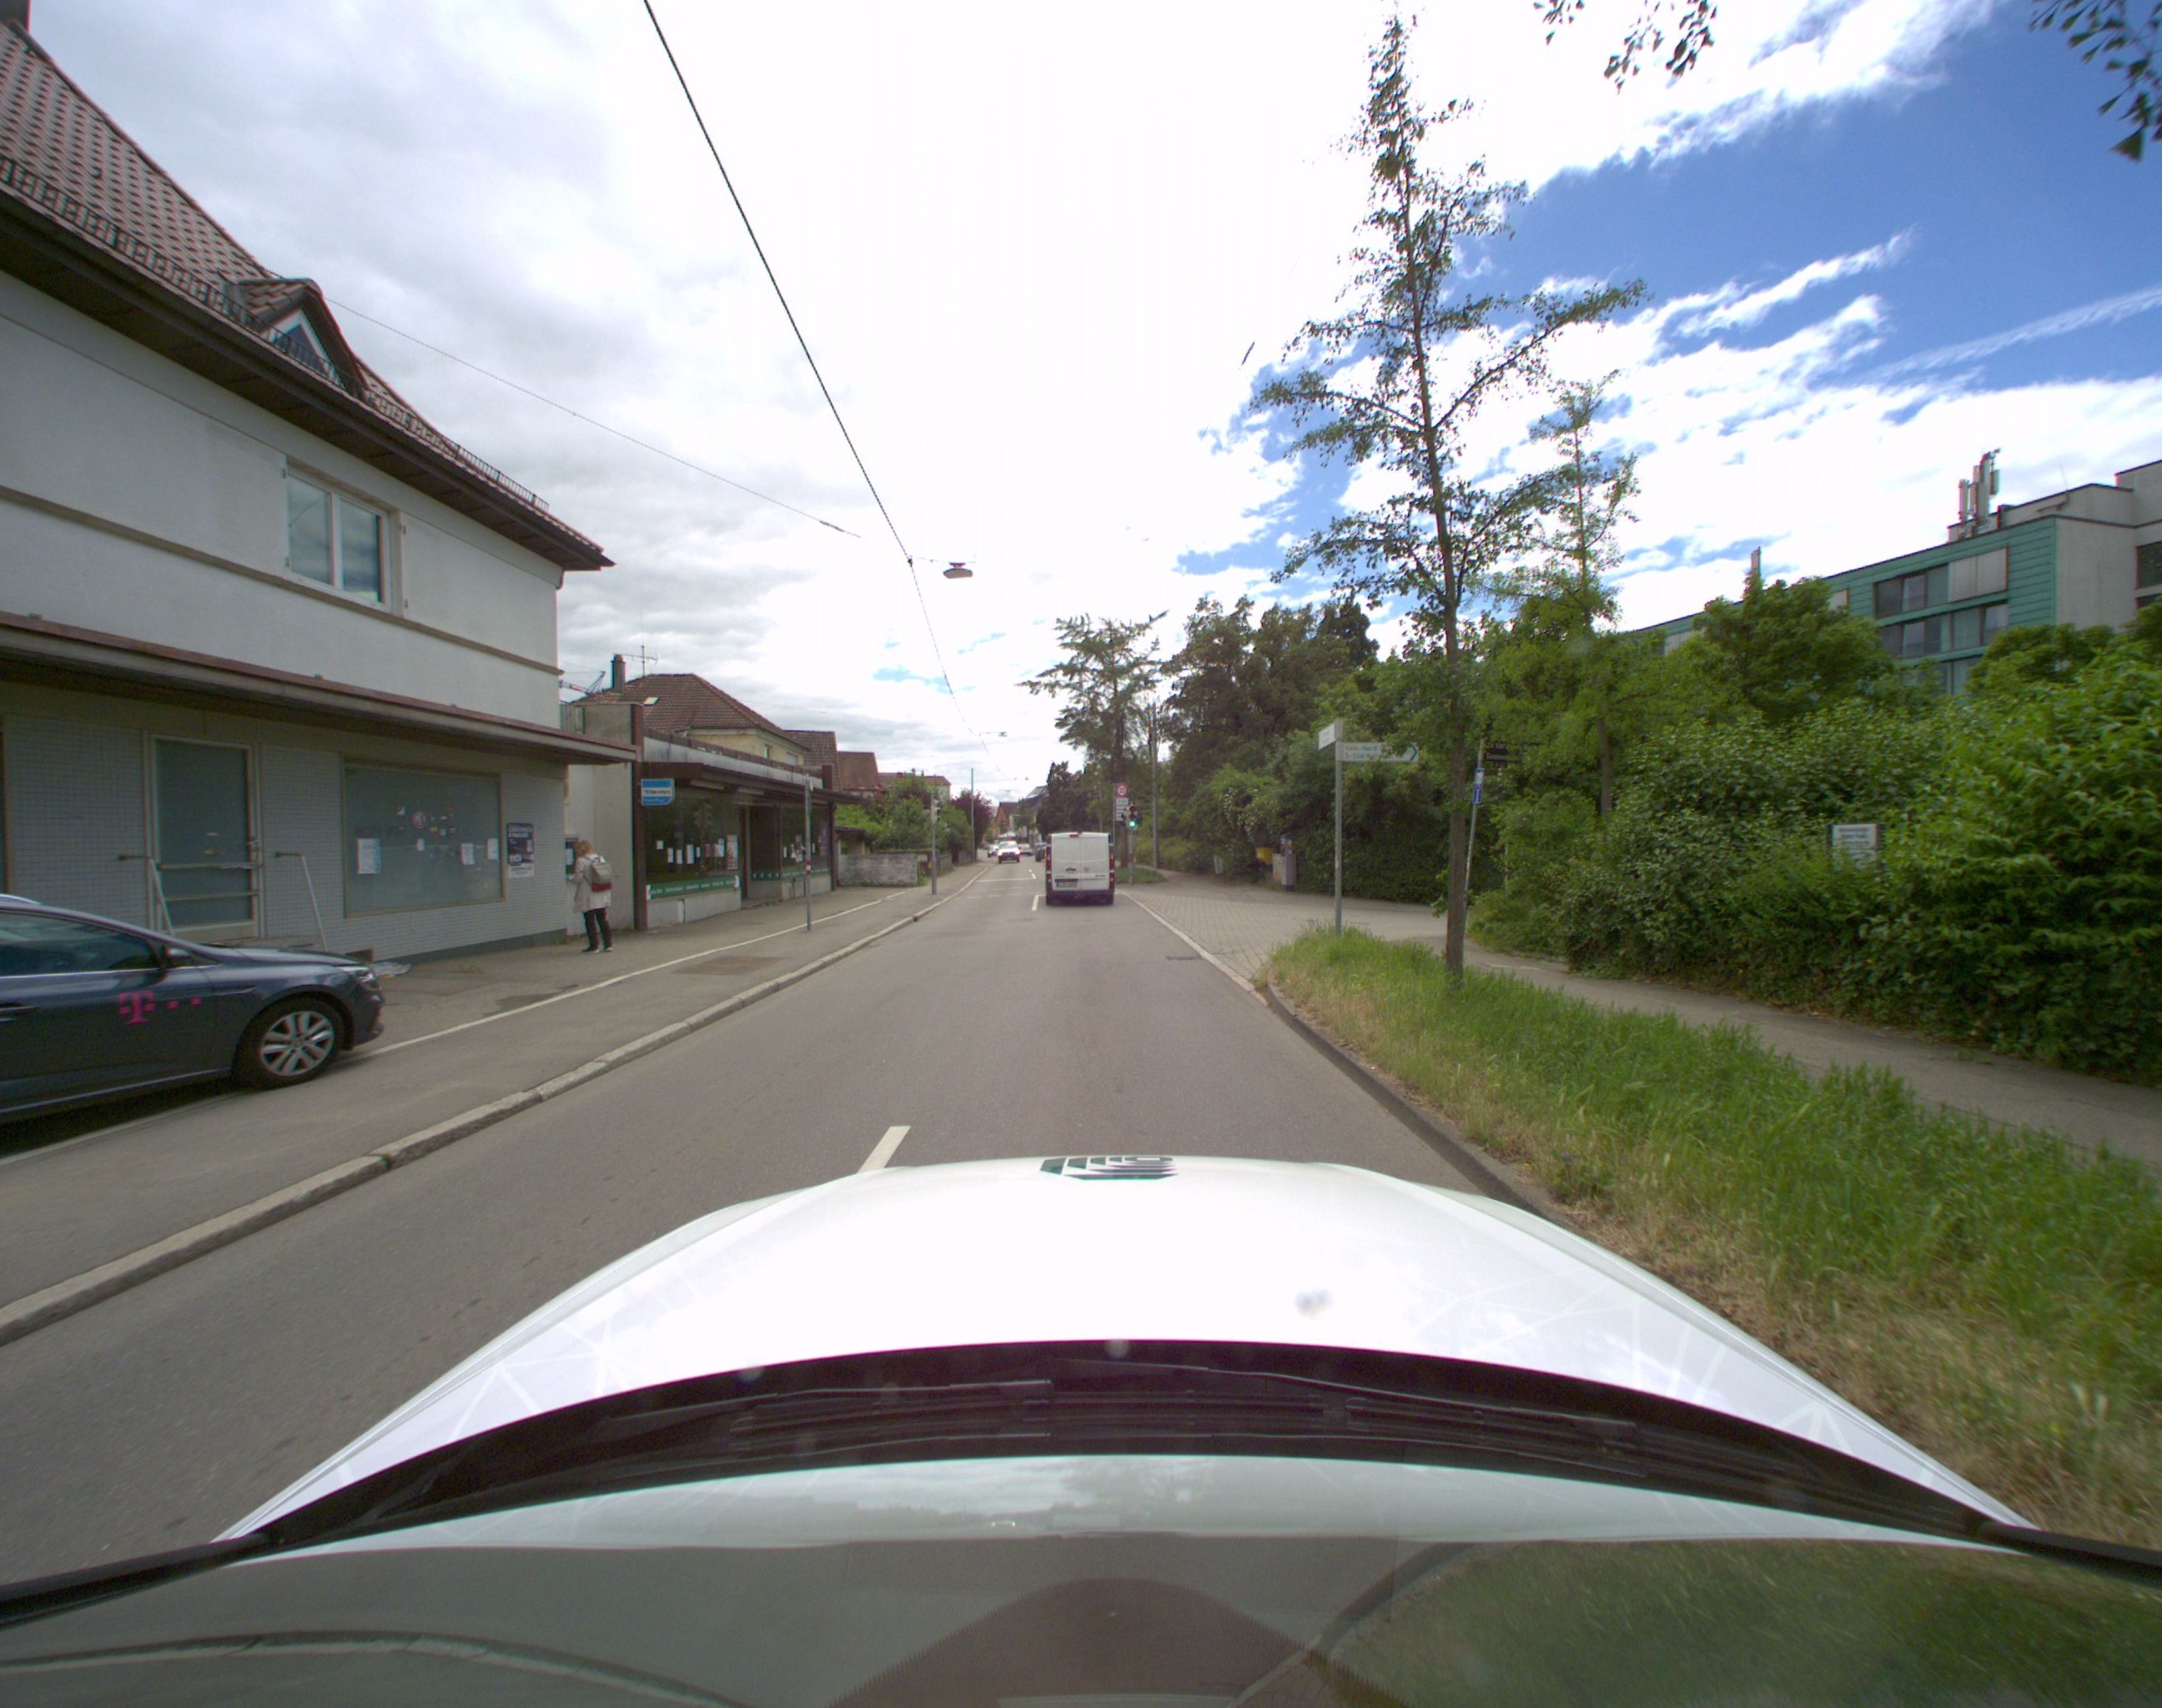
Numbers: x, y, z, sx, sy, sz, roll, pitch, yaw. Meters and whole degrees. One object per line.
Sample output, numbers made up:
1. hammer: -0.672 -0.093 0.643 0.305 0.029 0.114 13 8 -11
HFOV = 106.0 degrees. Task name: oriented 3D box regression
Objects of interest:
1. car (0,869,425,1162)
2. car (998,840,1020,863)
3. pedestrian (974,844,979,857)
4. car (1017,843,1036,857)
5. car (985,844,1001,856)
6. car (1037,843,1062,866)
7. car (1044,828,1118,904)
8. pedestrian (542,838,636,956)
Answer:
1. car: -6.580 0.892 4.483 1.768 1.441 4.539 1 1 10
2. car: -6.461 -0.260 73.433 1.864 1.911 5.108 -3 1 -4
3. pedestrian: -13.527 -0.435 105.736 0.413 1.714 0.457 0 0 39
4. car: -6.995 -0.488 104.395 1.826 1.728 3.984 0 0 -12
5. car: -12.050 -0.535 111.097 1.883 1.512 4.100 -3 1 -9
6. car: -2.684 0.028 70.346 1.890 1.859 4.404 0 0 1
7. car: -0.075 0.306 23.375 1.925 1.964 4.398 0 0 -2
8. pedestrian: -7.540 0.635 12.529 0.880 1.750 0.962 0 0 -4
